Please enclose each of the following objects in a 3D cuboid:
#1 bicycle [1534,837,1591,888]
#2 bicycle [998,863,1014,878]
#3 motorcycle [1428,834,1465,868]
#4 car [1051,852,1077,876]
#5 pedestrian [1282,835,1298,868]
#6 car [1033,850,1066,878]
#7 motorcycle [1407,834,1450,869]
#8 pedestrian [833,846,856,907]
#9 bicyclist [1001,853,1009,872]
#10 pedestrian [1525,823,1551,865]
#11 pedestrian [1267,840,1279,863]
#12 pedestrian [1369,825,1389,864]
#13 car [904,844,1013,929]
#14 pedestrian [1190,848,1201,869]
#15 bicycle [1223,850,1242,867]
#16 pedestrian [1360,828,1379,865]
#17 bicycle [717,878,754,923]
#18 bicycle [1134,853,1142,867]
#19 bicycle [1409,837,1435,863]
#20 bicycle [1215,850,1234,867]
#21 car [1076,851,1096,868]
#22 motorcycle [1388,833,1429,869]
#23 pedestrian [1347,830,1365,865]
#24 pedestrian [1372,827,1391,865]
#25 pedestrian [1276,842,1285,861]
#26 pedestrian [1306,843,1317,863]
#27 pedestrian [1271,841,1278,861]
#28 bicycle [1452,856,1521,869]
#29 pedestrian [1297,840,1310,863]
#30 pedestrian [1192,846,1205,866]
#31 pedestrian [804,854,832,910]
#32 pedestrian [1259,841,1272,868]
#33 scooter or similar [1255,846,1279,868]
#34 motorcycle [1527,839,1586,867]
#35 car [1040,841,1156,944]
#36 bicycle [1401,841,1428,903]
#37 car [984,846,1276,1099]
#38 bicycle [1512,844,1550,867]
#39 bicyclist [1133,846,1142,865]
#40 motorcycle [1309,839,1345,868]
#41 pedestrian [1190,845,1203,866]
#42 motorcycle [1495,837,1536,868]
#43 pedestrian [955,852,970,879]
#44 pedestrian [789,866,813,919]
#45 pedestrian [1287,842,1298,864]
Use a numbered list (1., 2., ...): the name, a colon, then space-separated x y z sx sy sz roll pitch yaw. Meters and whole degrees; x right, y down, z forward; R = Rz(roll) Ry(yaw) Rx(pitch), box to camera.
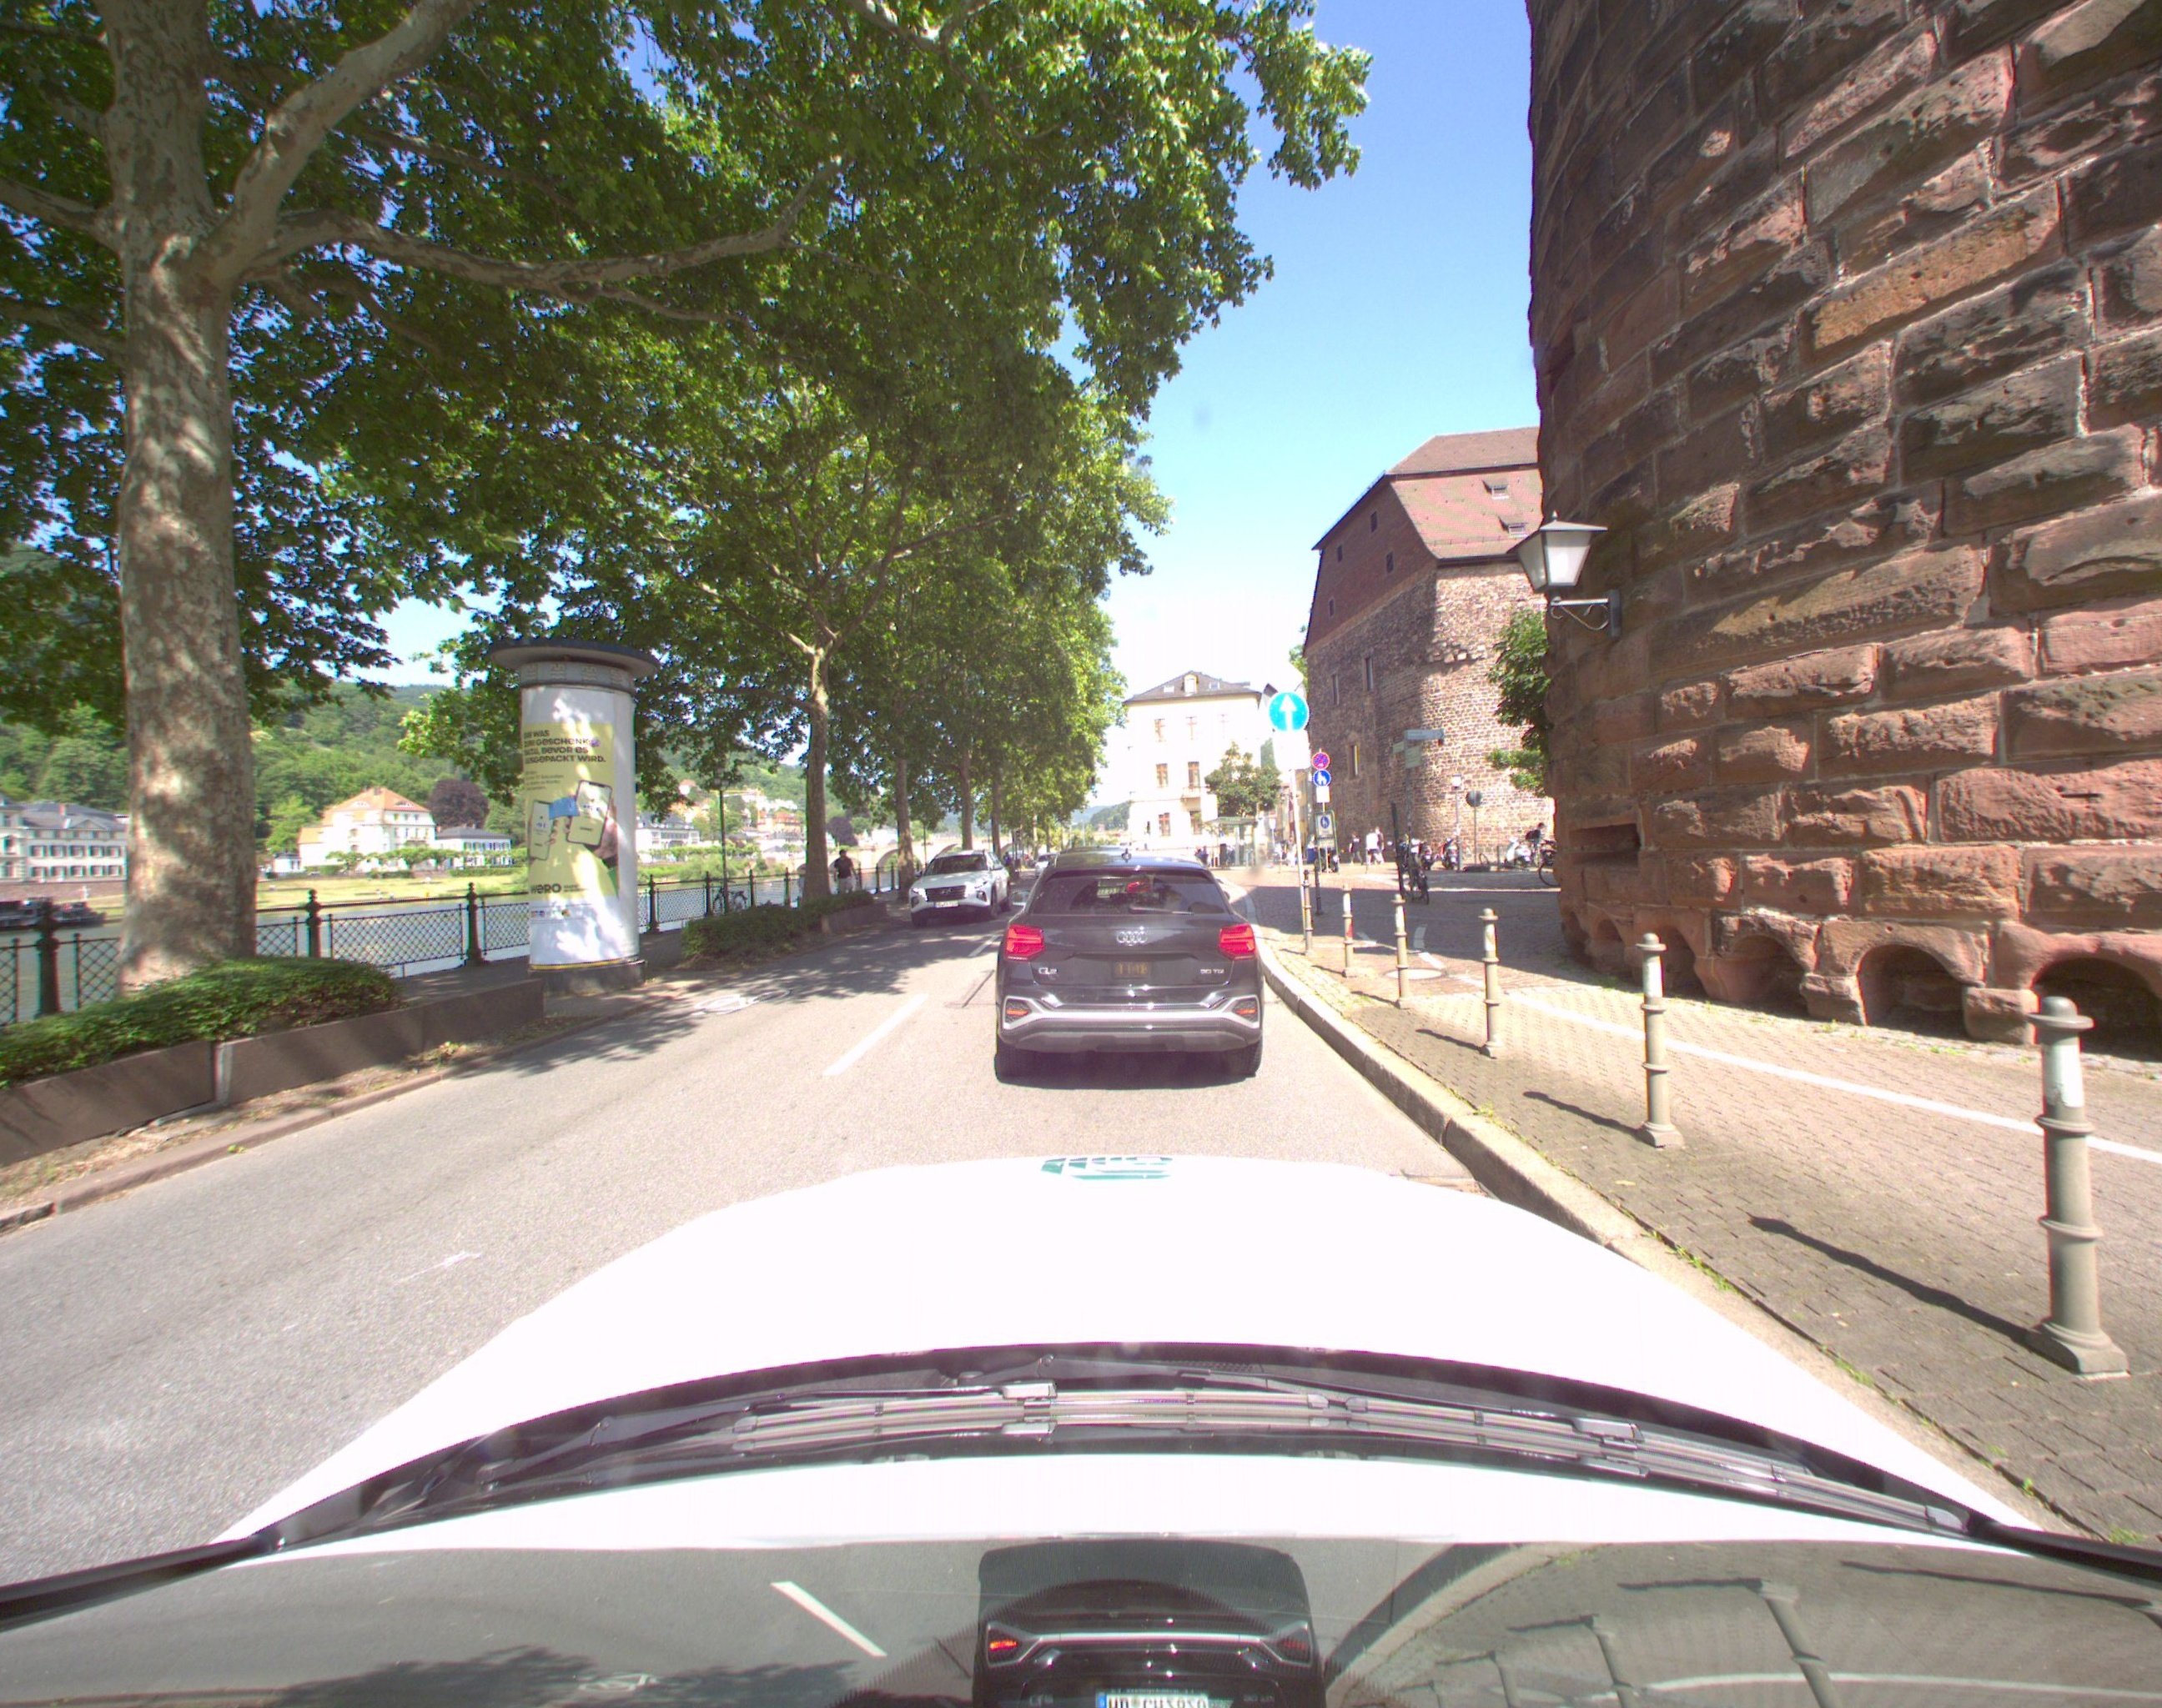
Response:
1. bicycle: 11.525 0.177 19.556 0.444 1.162 1.733 -2 0 5
2. bicycle: -5.164 1.155 56.117 1.091 1.006 0.303 -1 -1 -5
3. motorcycle: 13.787 -0.108 30.778 0.544 1.235 2.031 -1 -1 2
4. car: -1.449 0.829 70.251 1.806 1.725 4.423 -8 0 2
5. pedestrian: 12.251 -0.143 47.744 0.744 1.890 0.753 -1 -1 4
6. car: -2.022 0.635 52.869 1.732 1.572 4.093 -6 0 2
7. motorcycle: 12.849 -0.092 30.177 0.672 1.235 2.313 -1 -1 2
8. pedestrian: -7.415 0.710 25.545 0.532 1.887 0.437 -1 0 1
9. bicyclist: -5.235 0.564 56.144 0.565 1.311 0.551 0 -1 -3
10. pedestrian: 18.367 -0.409 32.724 0.799 1.662 0.660 -3 0 26
11. pedestrian: 17.426 -0.230 73.834 0.941 2.014 0.808 -1 -1 2
12. pedestrian: 15.643 -0.492 42.767 0.727 2.014 0.878 0 -1 1
13. car: -2.795 0.699 19.436 1.762 1.660 4.001 -5 0 1
14. pedestrian: 8.229 0.328 58.620 0.691 1.500 0.513 0 -1 -3
15. bicycle: 9.101 0.268 48.944 1.205 1.035 0.178 0 -1 -17
16. pedestrian: 14.652 -0.372 41.313 0.666 1.884 0.821 0 -1 1
17. bicycle: -8.887 1.181 20.967 0.358 1.091 1.296 1 0 1
18. bicycle: 4.296 0.457 61.584 0.436 1.086 1.675 0 -1 -2
19. bicycle: 16.763 -0.183 40.027 0.388 1.209 1.715 0 -1 -6
20. bicycle: 8.718 0.251 49.530 1.187 1.016 0.178 0 -1 -17
21. car: 0.536 0.615 88.433 1.985 1.806 4.003 -1 -1 3
22. motorcycle: 11.989 -0.107 29.896 0.653 1.266 2.201 -2 -1 2
23. pedestrian: 14.357 -0.323 42.534 0.649 1.802 0.847 -1 0 1
24. pedestrian: 15.439 -0.412 41.826 0.666 1.920 0.821 0 -1 1
25. pedestrian: 16.859 -0.218 68.817 0.621 1.532 0.466 0 -1 -2
26. pedestrian: 19.424 -0.067 68.745 0.685 1.612 0.896 -4 0 24
27. pedestrian: 16.318 -0.276 68.822 0.448 1.680 0.465 0 -1 -4
28. bicycle: 13.594 0.283 27.364 1.914 0.381 0.921 -2 -1 16
29. pedestrian: 20.215 -0.222 74.076 0.936 2.014 0.808 -1 -1 2
30. pedestrian: 6.941 0.120 48.100 0.662 1.211 0.640 0 -1 -4
31. pedestrian: -8.183 0.851 25.337 0.599 1.685 0.583 -3 0 0
32. pedestrian: 9.605 0.011 42.483 0.555 1.385 0.588 -1 -1 4
33. scooter or similar: 8.992 0.153 39.303 1.085 1.066 0.323 0 -1 -1
34. motorcycle: 17.966 -0.038 30.797 1.854 1.054 0.481 -1 -1 9
35. car: 0.318 0.593 14.362 1.786 1.595 3.400 0 0 2
36. bicycle: 6.844 0.334 16.767 0.192 1.203 1.775 -2 1 13
37. car: 0.350 0.700 6.708 1.736 1.509 3.649 0 0 2
38. bicycle: 16.629 0.053 30.148 0.352 0.820 1.926 0 1 1
39. bicyclist: 4.305 0.115 61.595 0.604 1.450 0.590 0 -1 -3
40. motorcycle: 9.050 -0.013 30.049 0.564 1.012 2.490 -3 0 1
41. pedestrian: 6.915 0.102 48.868 0.662 1.231 0.640 0 -1 -4
42. motorcycle: 15.514 -0.058 29.114 0.505 1.073 1.841 -1 -1 2
43. pedestrian: -8.019 0.761 55.144 0.906 1.811 0.586 -1 -2 6
44. pedestrian: -7.449 1.017 21.651 0.476 1.362 0.418 0 0 5
45. pedestrian: 19.197 -0.097 73.951 0.836 2.014 0.738 -1 -1 2
